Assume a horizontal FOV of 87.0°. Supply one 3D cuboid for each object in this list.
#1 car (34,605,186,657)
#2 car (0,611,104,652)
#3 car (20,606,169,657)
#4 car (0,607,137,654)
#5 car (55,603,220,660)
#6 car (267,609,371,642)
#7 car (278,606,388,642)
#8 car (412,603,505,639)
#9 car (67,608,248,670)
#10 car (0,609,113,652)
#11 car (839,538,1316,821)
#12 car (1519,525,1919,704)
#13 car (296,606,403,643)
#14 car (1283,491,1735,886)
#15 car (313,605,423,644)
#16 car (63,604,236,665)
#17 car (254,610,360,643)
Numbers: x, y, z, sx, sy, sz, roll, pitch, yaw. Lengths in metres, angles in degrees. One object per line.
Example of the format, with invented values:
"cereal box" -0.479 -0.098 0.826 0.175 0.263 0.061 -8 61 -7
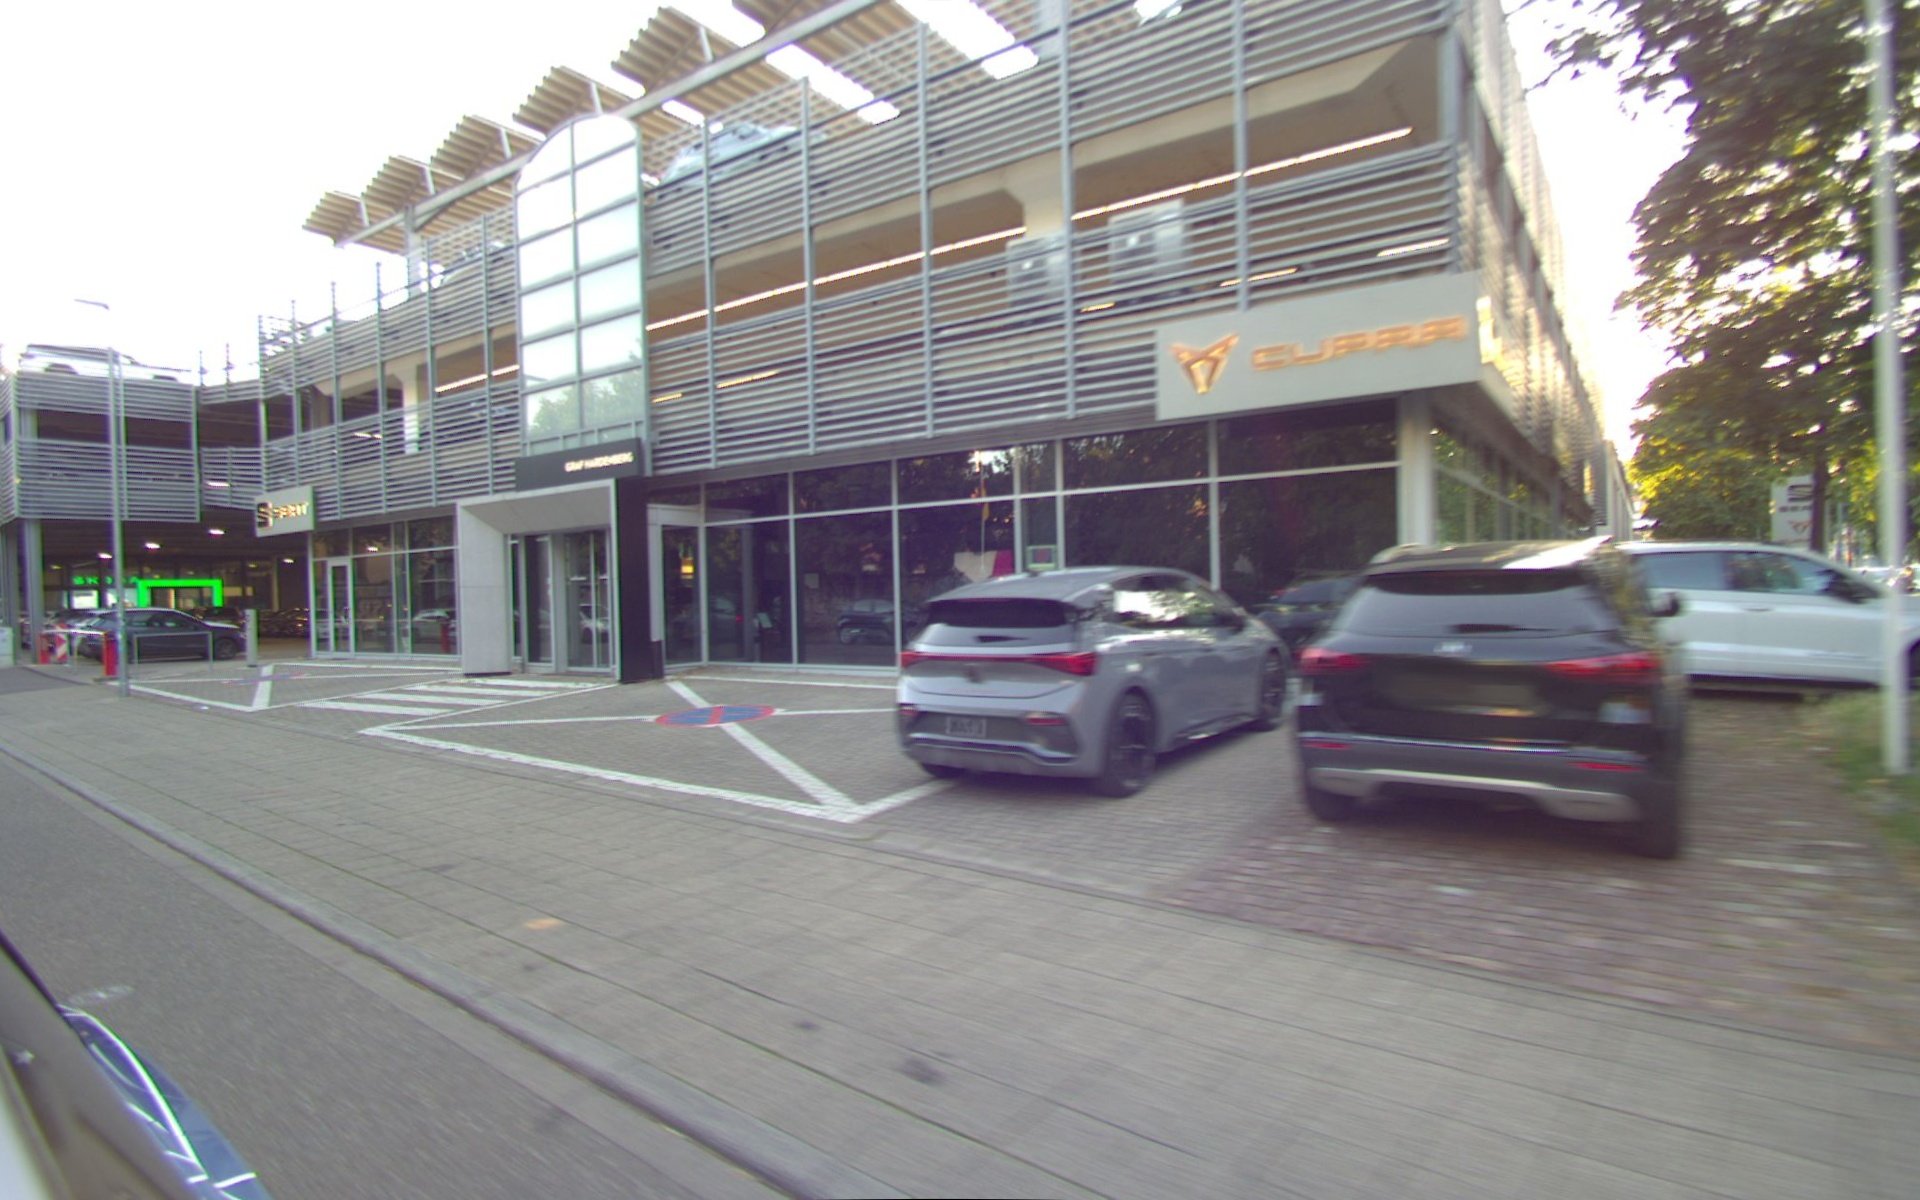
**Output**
"car" -31.062 1.113 37.063 1.859 1.696 4.022 -3 0 41
"car" -41.894 1.437 46.149 1.859 1.696 4.106 -3 0 41
"car" -32.872 1.169 38.503 1.859 1.696 4.060 -3 0 41
"car" -36.635 1.240 41.597 1.859 1.696 4.060 -3 0 41
"car" -27.628 1.028 34.095 1.859 1.696 4.044 -3 0 41
"car" -32.077 1.256 50.715 1.859 1.466 4.032 -3 0 41
"car" -30.563 1.147 49.421 1.859 1.532 4.162 -3 0 41
"car" -26.483 1.119 53.562 1.859 1.696 3.982 -3 0 41
"car" -24.071 1.096 30.476 1.858 1.597 3.949 0 2 38
"car" -40.245 1.323 44.797 1.859 1.696 3.984 -3 0 41
"car" 1.193 0.411 8.195 1.911 1.630 4.090 -3 2 38
"car" 8.097 0.123 10.074 4.217 1.562 1.686 -2 1 38
"car" -29.012 1.156 48.165 1.859 1.570 3.945 -3 0 41
"car" 3.656 0.348 6.319 1.763 1.630 4.028 -3 0 38
"car" -27.288 1.104 46.724 1.859 1.570 3.945 -3 0 41
"car" -25.880 1.075 32.404 1.859 1.696 4.037 -3 0 41
"car" -33.982 1.379 52.750 1.859 1.499 4.291 -3 0 41
